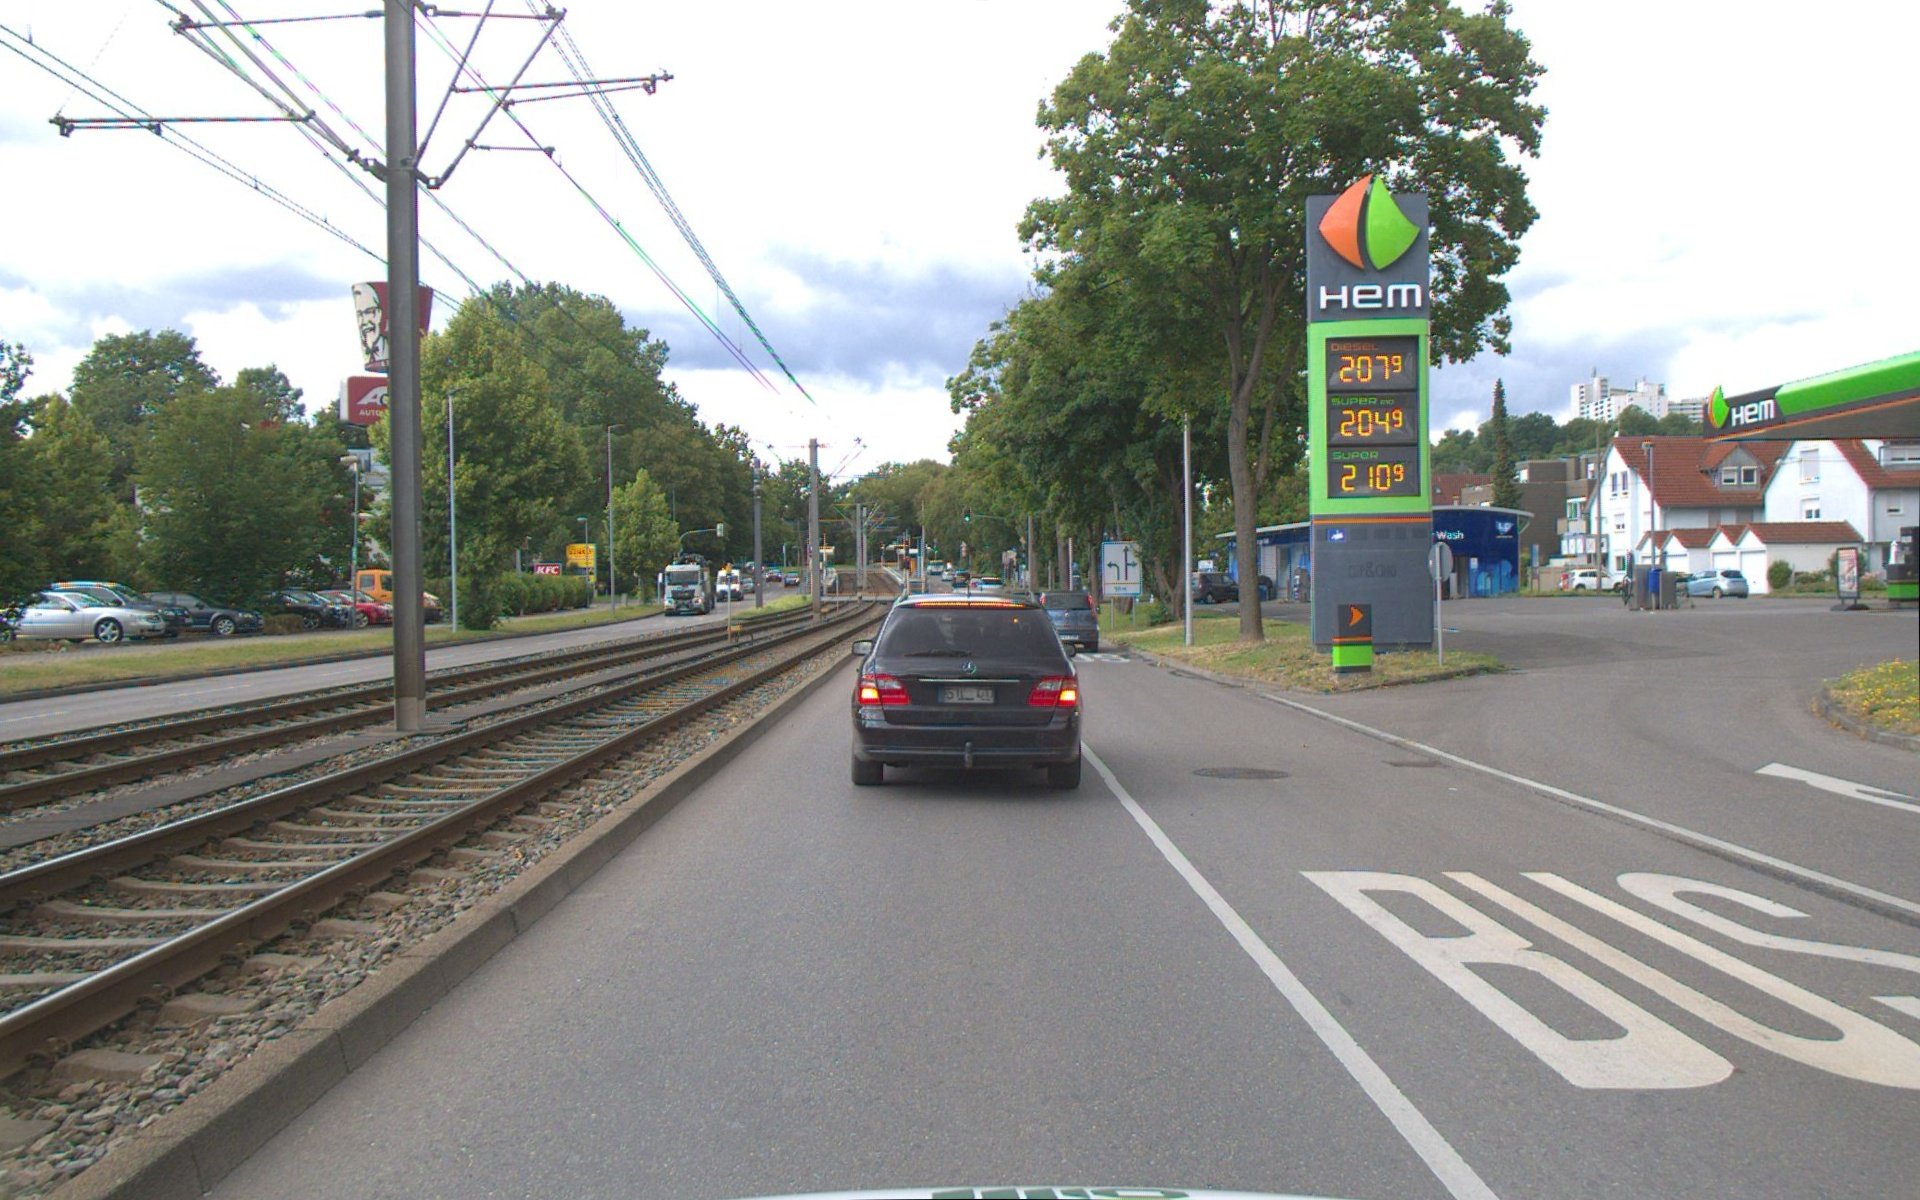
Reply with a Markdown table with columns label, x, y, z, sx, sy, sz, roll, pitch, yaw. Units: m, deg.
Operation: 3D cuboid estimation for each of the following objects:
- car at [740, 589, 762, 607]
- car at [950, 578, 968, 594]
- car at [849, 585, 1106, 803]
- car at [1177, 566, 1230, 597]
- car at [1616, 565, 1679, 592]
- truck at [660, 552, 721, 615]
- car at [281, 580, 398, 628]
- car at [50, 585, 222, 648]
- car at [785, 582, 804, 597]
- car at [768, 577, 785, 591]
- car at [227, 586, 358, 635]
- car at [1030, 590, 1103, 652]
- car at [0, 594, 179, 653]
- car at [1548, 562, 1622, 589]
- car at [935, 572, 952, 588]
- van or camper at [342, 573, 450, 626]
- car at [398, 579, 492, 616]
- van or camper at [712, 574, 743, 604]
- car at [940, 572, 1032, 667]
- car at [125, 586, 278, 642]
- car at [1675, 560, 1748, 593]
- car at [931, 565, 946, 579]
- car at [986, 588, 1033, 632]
| label | x | y | z | sx | sy | sz | roll | pitch | yaw |
| --- | --- | --- | --- | --- | --- | --- | --- | --- | --- |
| car | -20.489 | -0.202 | 162.012 | 1.729 | 1.676 | 3.770 | 1 | 0 | -1 |
| car | -0.145 | -1.471 | 175.160 | 1.634 | 1.559 | 3.768 | 1 | 0 | -4 |
| car | 0.103 | 0.634 | 13.407 | 1.771 | 1.500 | 3.880 | 0 | 1 | -1 |
| car | 14.411 | -1.101 | 97.580 | 1.965 | 1.712 | 4.578 | -1 | 1 | 23 |
| car | 37.909 | -1.172 | 91.290 | 1.553 | 1.418 | 3.407 | 1 | 0 | -13 |
| truck | -17.118 | -1.044 | 105.729 | 2.653 | 3.727 | 11.104 | -1 | 1 | -3 |
| car | -24.131 | 0.140 | 64.446 | 3.909 | 1.829 | 1.876 | 0 | 0 | -5 |
| car | -23.316 | 0.446 | 46.915 | 3.909 | 1.663 | 1.876 | -1 | 1 | -5 |
| car | -18.060 | -1.147 | 180.300 | 1.729 | 1.676 | 3.770 | 1 | 0 | -1 |
| car | -23.004 | -2.045 | 207.641 | 1.729 | 1.676 | 3.770 | 1 | 0 | -1 |
| car | -23.887 | 0.360 | 59.307 | 3.909 | 1.627 | 1.876 | -1 | 1 | -5 |
| car | 2.607 | 0.502 | 41.097 | 1.539 | 1.439 | 3.354 | 1 | 0 | -1 |
| car | -23.512 | 0.616 | 44.422 | 4.221 | 1.497 | 1.679 | -1 | 1 | -3 |
| car | 40.491 | -1.579 | 107.176 | 4.131 | 1.713 | 1.776 | 1 | 0 | -3 |
| car | -1.949 | -2.377 | 195.991 | 1.953 | 1.744 | 4.000 | -1 | 1 | -1 |
| van or camper | -23.712 | -0.045 | 69.647 | 3.909 | 2.172 | 1.876 | 0 | 0 | -5 |
| car | -24.397 | -0.124 | 78.387 | 3.909 | 1.627 | 1.795 | -1 | 1 | -5 |
| van or camper | -19.215 | -0.931 | 136.795 | 1.954 | 2.395 | 5.763 | -1 | 1 | -3 |
| car | 0.481 | 0.371 | 33.610 | 1.744 | 1.781 | 3.717 | 1 | 0 | -1 |
| car | -23.777 | 0.409 | 51.931 | 3.909 | 1.627 | 1.876 | -1 | 1 | -5 |
| car | 39.012 | -1.203 | 85.944 | 1.506 | 1.627 | 3.725 | 1 | 0 | -13 |
| car | -2.871 | -3.685 | 218.756 | 1.953 | 1.870 | 3.999 | 1 | 0 | -1 |
| car | 1.648 | 0.335 | 56.179 | 1.436 | 1.439 | 3.354 | 1 | 0 | -1 |
